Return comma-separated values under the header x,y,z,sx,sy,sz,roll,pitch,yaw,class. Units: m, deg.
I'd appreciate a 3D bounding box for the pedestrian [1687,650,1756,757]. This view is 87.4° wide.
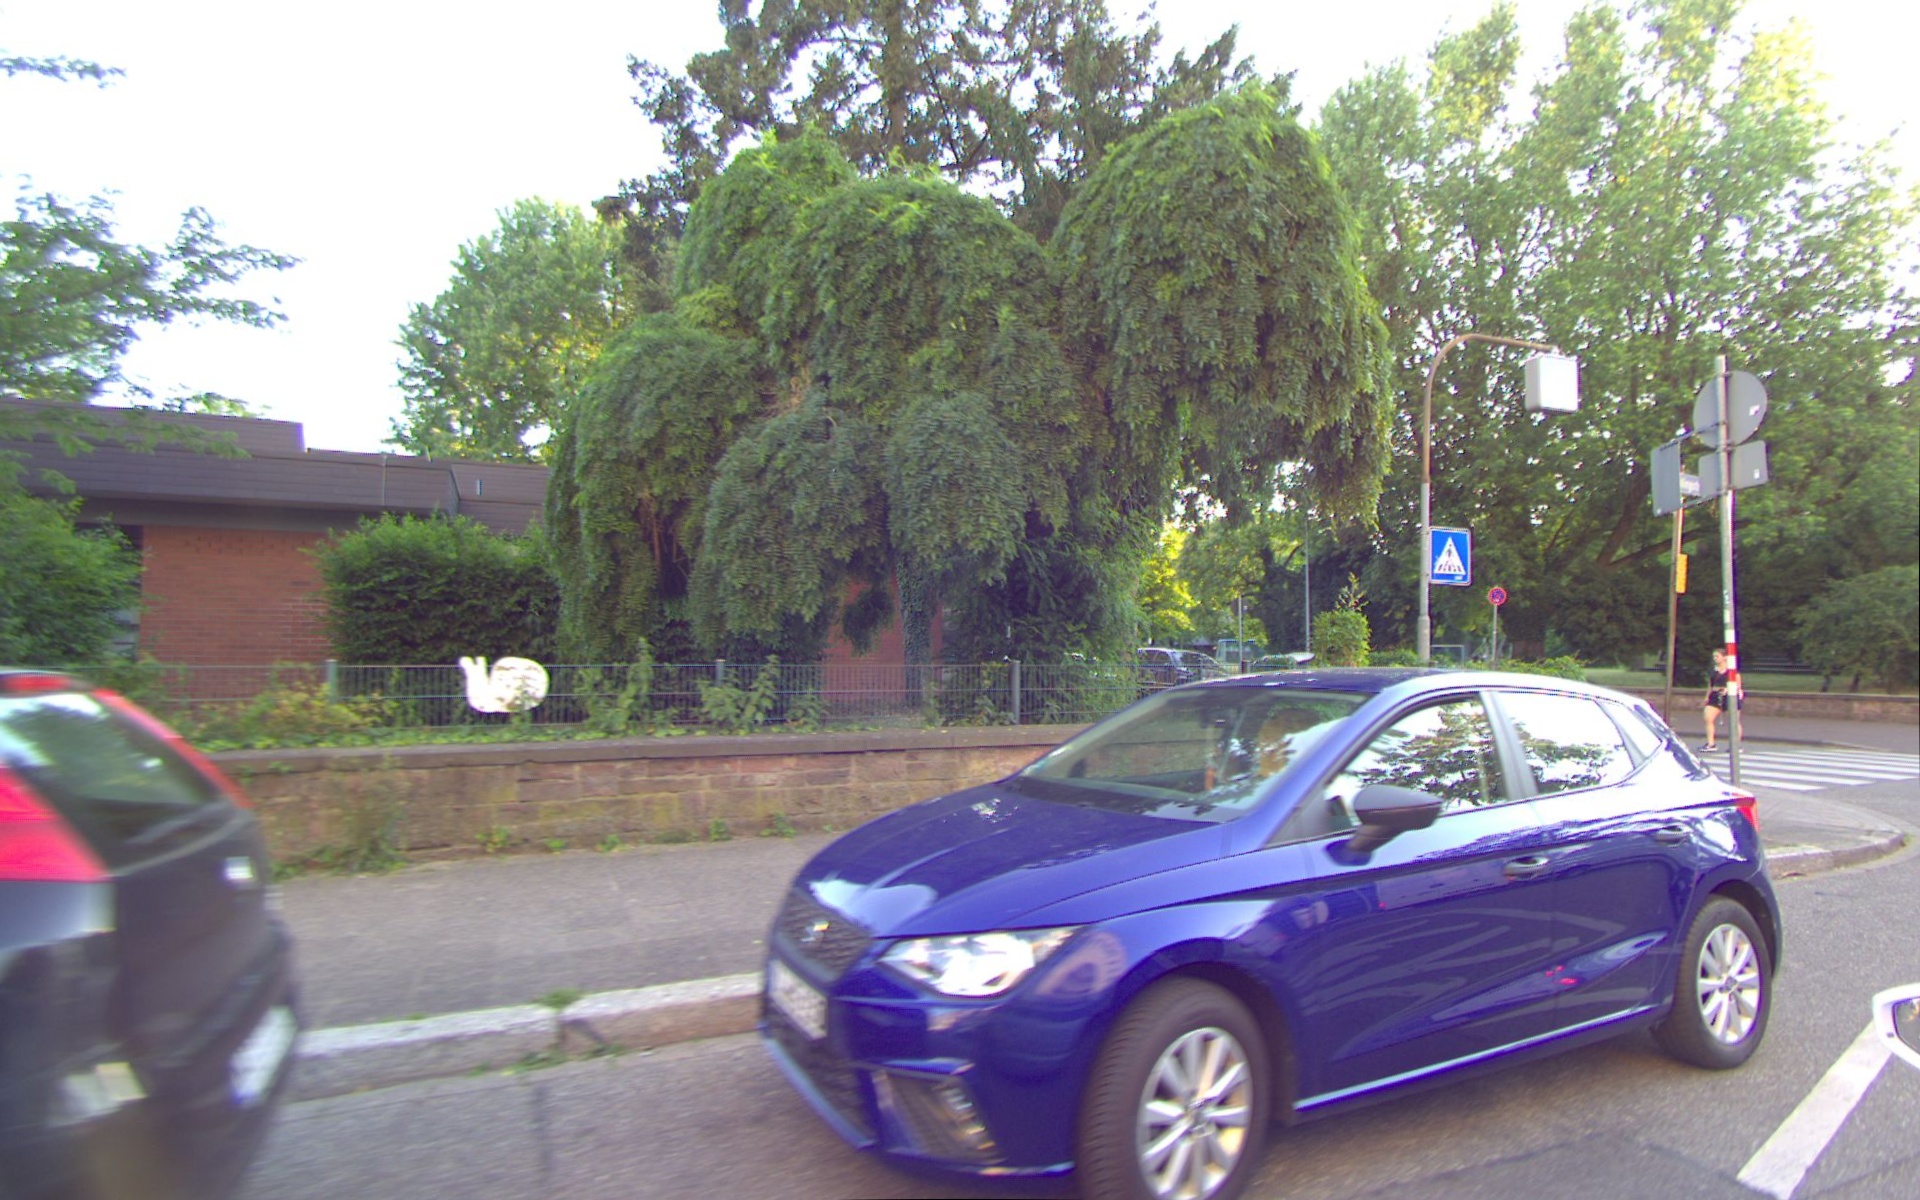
x,y,z,sx,sy,sz,roll,pitch,yaw,class
12.438,1.669,16.424,0.664,1.670,0.645,1,-1,-21,pedestrian

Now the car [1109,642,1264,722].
x,y,z,sx,sy,sz,roll,pitch,yaw,class
5.714,2.089,25.871,1.797,1.821,4.222,5,-5,-21,car

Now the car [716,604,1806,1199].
x,y,z,sx,sy,sz,roll,pitch,yaw,class
1.164,0.910,3.757,3.743,1.587,1.728,2,-4,-28,car

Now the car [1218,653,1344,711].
x,y,z,sx,sy,sz,roll,pitch,yaw,class
10.319,2.612,32.569,1.796,1.583,3.865,-5,-2,-20,car

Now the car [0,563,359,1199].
x,y,z,sx,sy,sz,roll,pitch,yaw,class
-3.175,0.750,1.586,3.650,1.587,1.728,2,-4,-27,car
